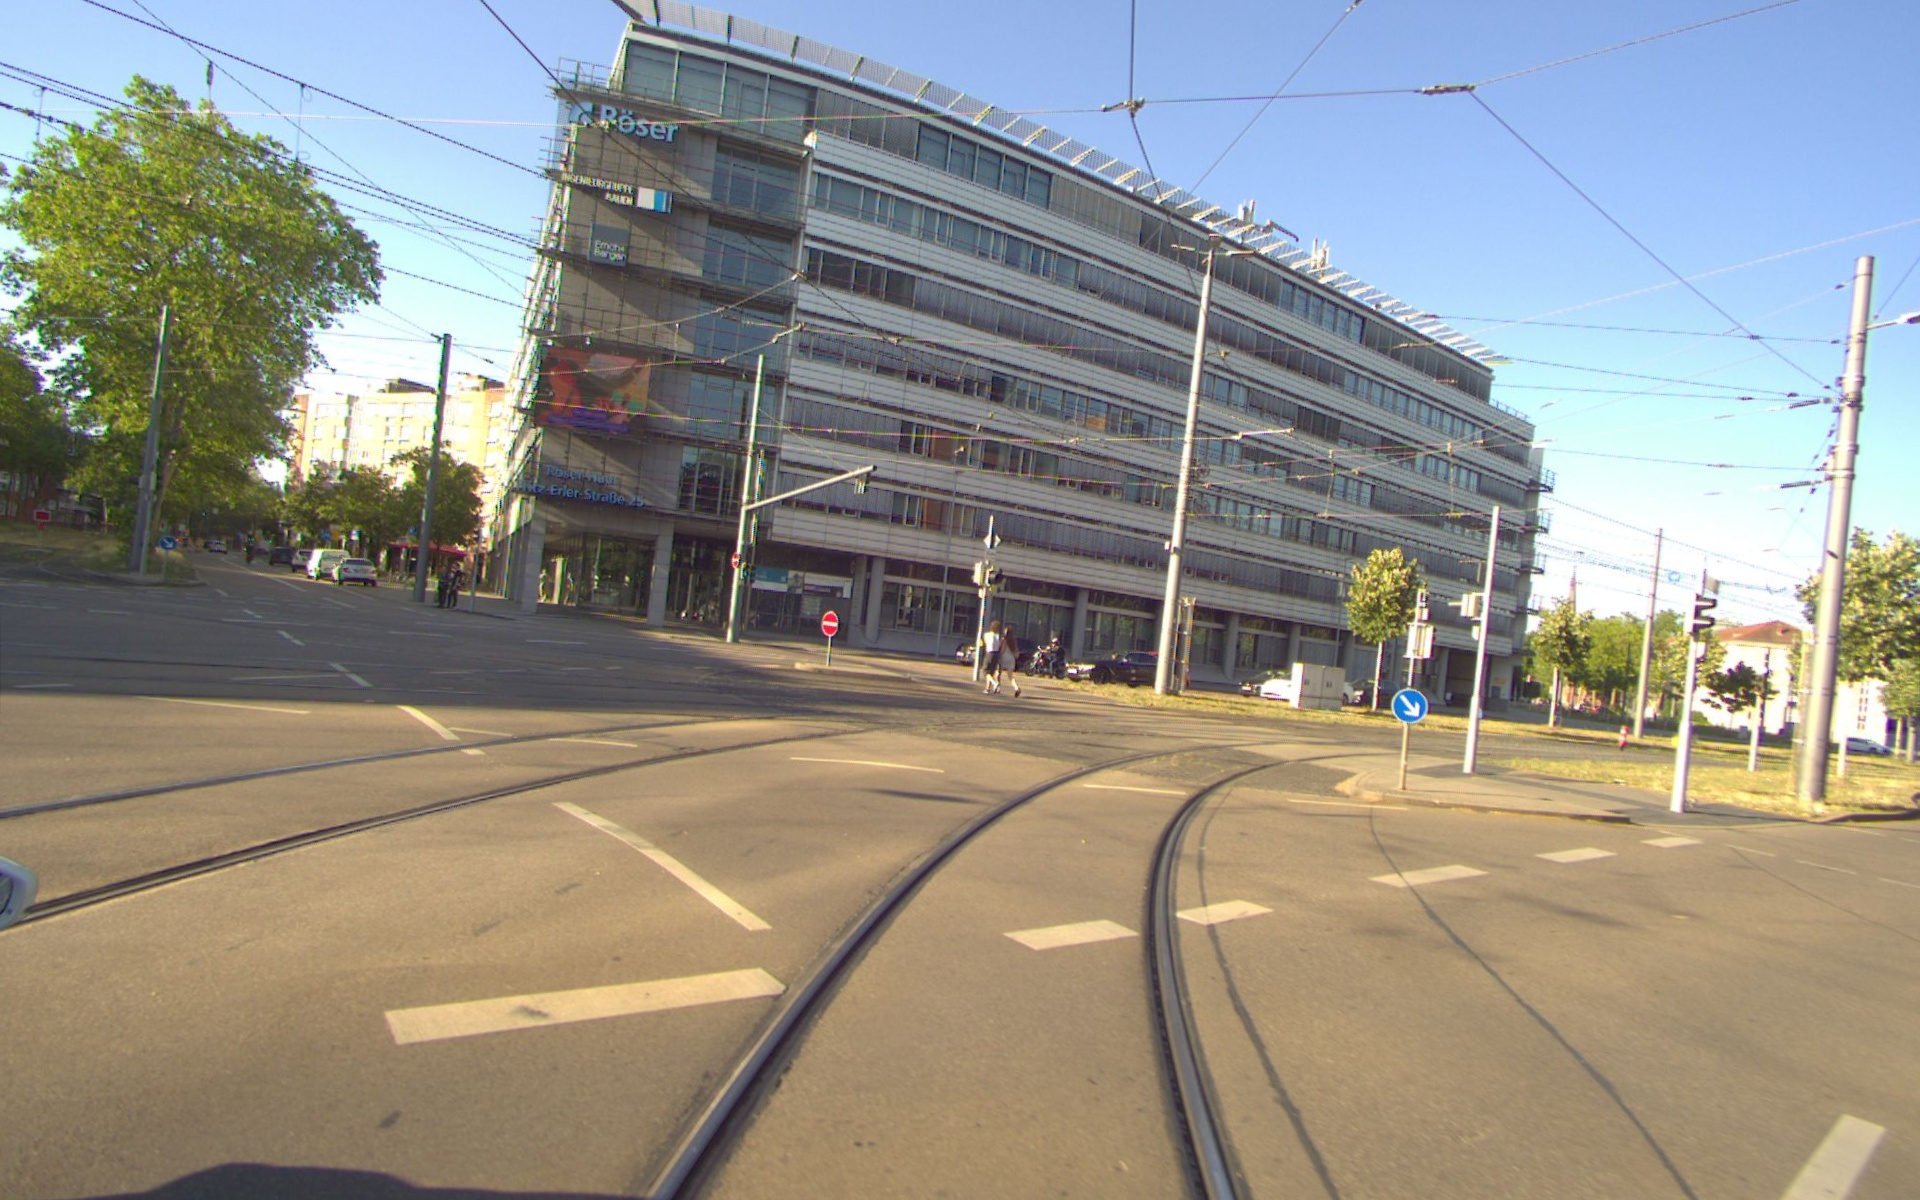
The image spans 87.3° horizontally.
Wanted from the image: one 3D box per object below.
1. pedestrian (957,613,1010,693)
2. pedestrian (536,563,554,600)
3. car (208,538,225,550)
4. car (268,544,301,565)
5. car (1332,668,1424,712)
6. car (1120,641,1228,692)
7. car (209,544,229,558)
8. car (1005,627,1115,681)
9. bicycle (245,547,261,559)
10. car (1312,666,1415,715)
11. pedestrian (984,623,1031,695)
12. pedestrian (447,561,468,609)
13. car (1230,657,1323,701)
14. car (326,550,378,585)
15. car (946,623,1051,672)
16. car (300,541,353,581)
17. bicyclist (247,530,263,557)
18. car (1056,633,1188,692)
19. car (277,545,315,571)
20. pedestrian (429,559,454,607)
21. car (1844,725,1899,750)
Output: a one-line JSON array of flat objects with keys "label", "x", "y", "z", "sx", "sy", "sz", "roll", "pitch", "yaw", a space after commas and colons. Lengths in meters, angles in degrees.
[{"label": "pedestrian", "x": 0.596, "y": 1.310, "z": 24.958, "sx": 0.949, "sy": 1.865, "sz": 0.698, "roll": 6, "pitch": 0, "yaw": 22}, {"label": "pedestrian", "x": -23.697, "y": -1.031, "z": 57.378, "sx": 0.669, "sy": 2.038, "sz": 0.510, "roll": 6, "pitch": 0, "yaw": -36}, {"label": "car", "x": -111.769, "y": -8.418, "z": 151.174, "sx": 1.843, "sy": 1.571, "sz": 4.284, "roll": 7, "pitch": -1, "yaw": -35}, {"label": "car", "x": -59.316, "y": -3.997, "z": 88.266, "sx": 2.249, "sy": 1.571, "sz": 4.286, "roll": 7, "pitch": -1, "yaw": -35}, {"label": "car", "x": 20.628, "y": 4.428, "z": 49.629, "sx": 4.122, "sy": 1.640, "sz": 1.893, "roll": 8, "pitch": -2, "yaw": -27}, {"label": "car", "x": 9.189, "y": 2.837, "z": 43.133, "sx": 4.122, "sy": 1.640, "sz": 1.893, "roll": 8, "pitch": -2, "yaw": -27}, {"label": "car", "x": -93.430, "y": -6.169, "z": 126.890, "sx": 1.843, "sy": 1.571, "sz": 4.285, "roll": 6, "pitch": -1, "yaw": -35}, {"label": "car", "x": 3.994, "y": 2.142, "z": 40.166, "sx": 3.820, "sy": 1.640, "sz": 1.893, "roll": 8, "pitch": -2, "yaw": -27}, {"label": "bicycle", "x": -54.414, "y": -3.619, "z": 77.474, "sx": 0.811, "sy": 0.784, "sz": 1.717, "roll": 6, "pitch": -1, "yaw": -30}, {"label": "car", "x": 18.040, "y": 4.039, "z": 44.981, "sx": 4.122, "sy": 1.640, "sz": 1.893, "roll": 8, "pitch": -2, "yaw": -27}, {"label": "pedestrian", "x": 1.207, "y": 1.476, "z": 25.378, "sx": 0.831, "sy": 1.709, "sz": 0.647, "roll": 6, "pitch": 0, "yaw": 25}, {"label": "pedestrian", "x": -19.765, "y": -0.581, "z": 39.537, "sx": 0.538, "sy": 1.846, "sz": 0.373, "roll": 6, "pitch": 0, "yaw": 36}, {"label": "car", "x": 14.642, "y": 3.660, "z": 46.517, "sx": 3.949, "sy": 1.615, "sz": 1.620, "roll": 7, "pitch": -1, "yaw": -25}, {"label": "car", "x": -32.743, "y": -1.749, "z": 54.128, "sx": 1.844, "sy": 1.571, "sz": 4.282, "roll": 6, "pitch": -1, "yaw": -37}, {"label": "car", "x": 1.699, "y": 2.100, "z": 44.407, "sx": 4.122, "sy": 1.640, "sz": 1.893, "roll": 8, "pitch": -2, "yaw": -27}, {"label": "car", "x": -37.328, "y": -2.314, "z": 59.222, "sx": 1.985, "sy": 2.038, "sz": 4.337, "roll": 6, "pitch": -1, "yaw": -40}, {"label": "bicyclist", "x": -54.416, "y": -4.348, "z": 77.656, "sx": 0.746, "sy": 2.037, "sz": 0.738, "roll": 7, "pitch": -1, "yaw": -30}, {"label": "car", "x": 6.052, "y": 2.342, "z": 37.560, "sx": 4.470, "sy": 1.640, "sz": 1.893, "roll": 8, "pitch": -2, "yaw": -27}, {"label": "car", "x": -46.849, "y": -2.996, "z": 70.960, "sx": 1.844, "sy": 1.571, "sz": 4.282, "roll": 6, "pitch": -1, "yaw": -37}, {"label": "pedestrian", "x": -20.602, "y": -0.673, "z": 39.954, "sx": 0.580, "sy": 1.846, "sz": 0.542, "roll": 6, "pitch": 0, "yaw": 36}, {"label": "car", "x": 94.279, "y": 14.217, "z": 104.068, "sx": 3.943, "sy": 1.882, "sz": 1.992, "roll": 5, "pitch": -1, "yaw": 40}]
